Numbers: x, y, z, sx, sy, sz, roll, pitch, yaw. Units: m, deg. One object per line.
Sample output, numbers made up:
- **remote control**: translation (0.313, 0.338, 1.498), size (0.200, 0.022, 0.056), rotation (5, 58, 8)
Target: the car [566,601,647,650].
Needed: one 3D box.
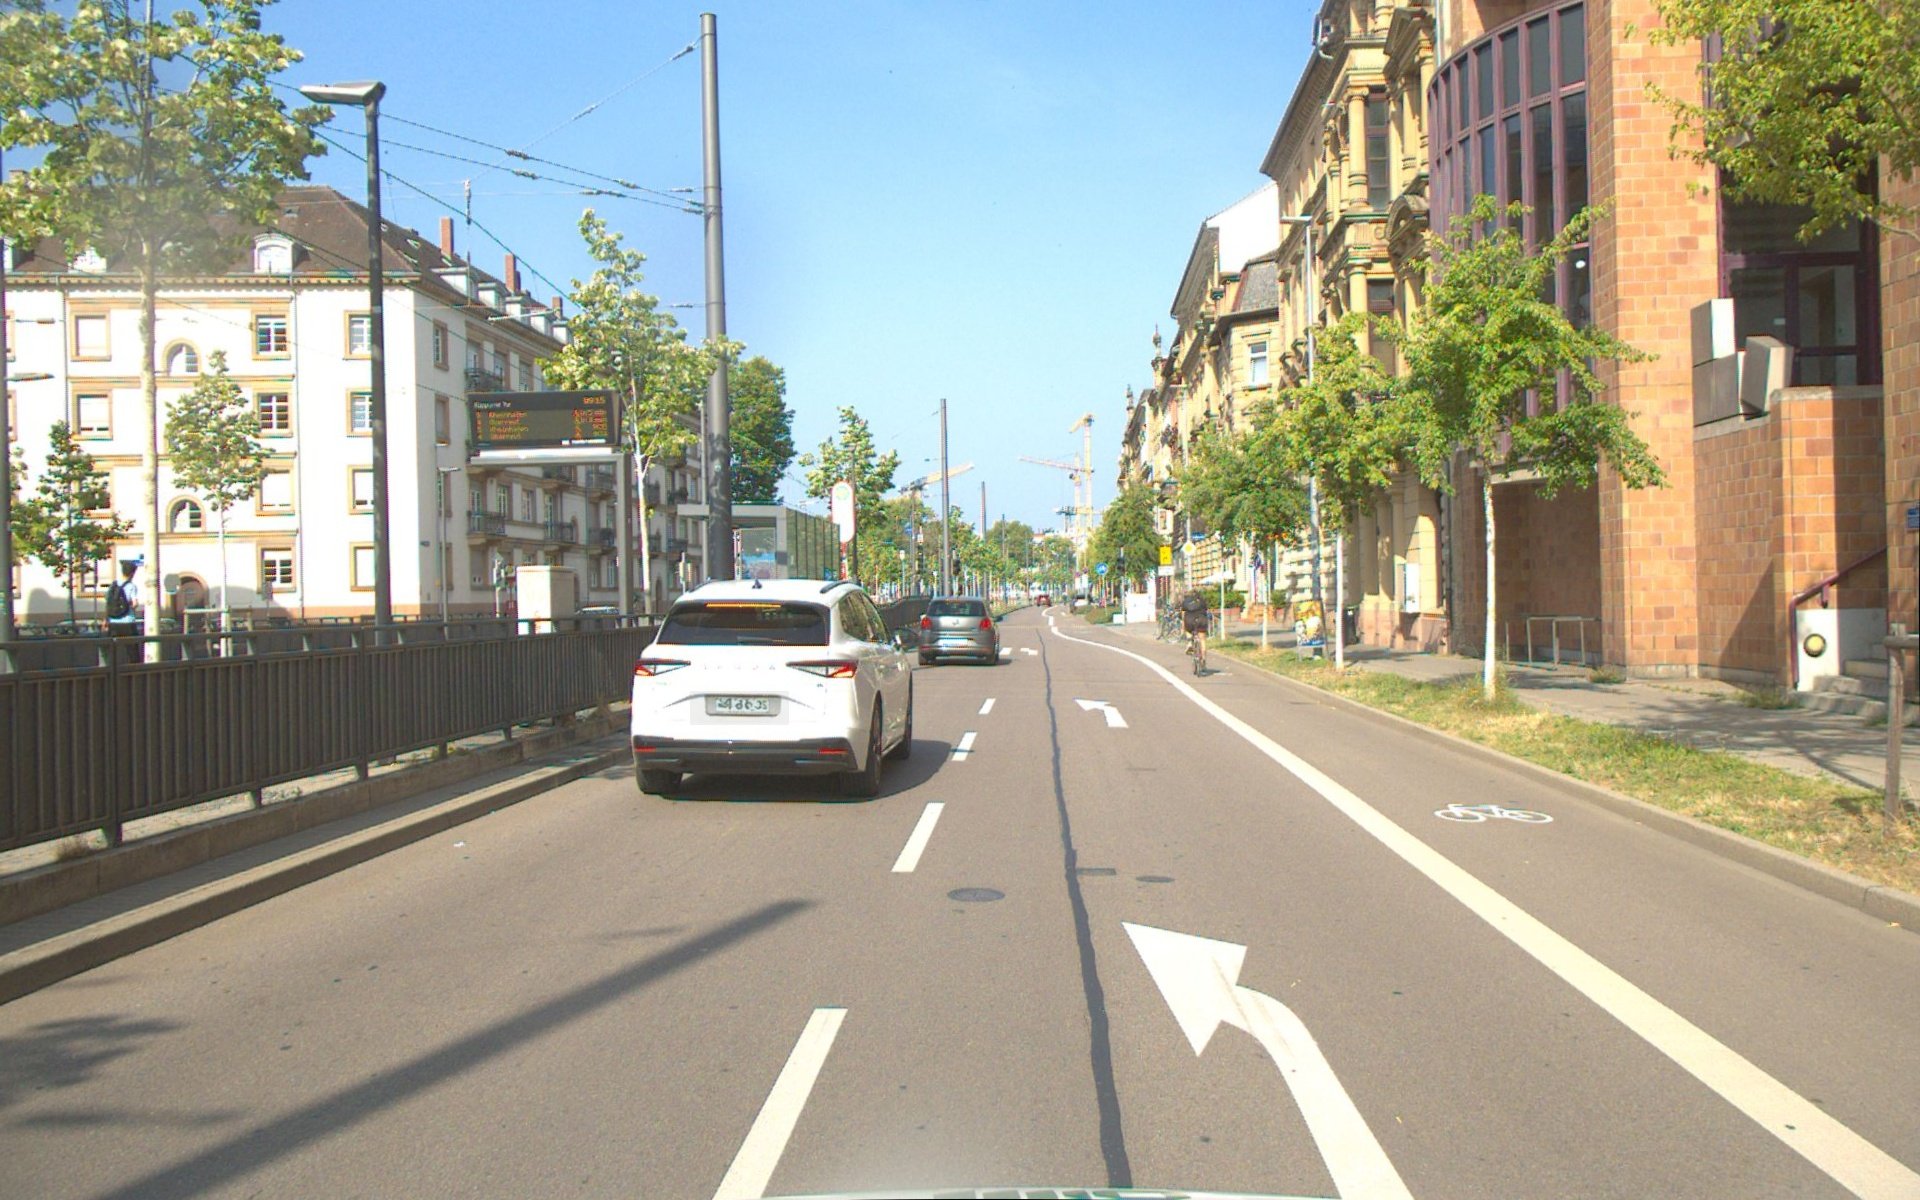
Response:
- **car**: translation (-14.539, 1.006, 68.356), size (1.951, 1.837, 4.635), rotation (-2, 0, 5)

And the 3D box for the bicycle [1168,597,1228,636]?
- **bicycle**: translation (7.650, 0.532, 53.184), size (1.722, 1.106, 0.657), rotation (-5, 0, -6)

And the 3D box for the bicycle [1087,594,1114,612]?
- **bicycle**: translation (9.760, 0.214, 115.190), size (1.770, 1.115, 0.671), rotation (-3, 0, -2)

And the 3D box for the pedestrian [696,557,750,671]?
- **pedestrian**: translation (-4.386, 0.257, 30.616), size (0.816, 2.049, 1.028), rotation (1, 0, 0)

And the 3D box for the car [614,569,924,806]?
- **car**: translation (-1.371, 0.598, 13.588), size (1.779, 1.617, 4.408), rotation (-1, 0, 3)

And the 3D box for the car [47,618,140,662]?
- **car**: translation (-33.910, 1.555, 64.813), size (1.639, 1.559, 3.924), rotation (-2, 0, -2)

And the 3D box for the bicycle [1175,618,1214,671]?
- **bicycle**: translation (4.462, 0.844, 31.555), size (0.495, 0.970, 1.785), rotation (1, -2, 1)

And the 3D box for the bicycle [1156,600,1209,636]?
- **bicycle**: translation (7.525, 0.607, 55.945), size (1.718, 1.106, 0.669), rotation (-4, 0, 8)

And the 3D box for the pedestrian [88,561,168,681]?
- **pedestrian**: translation (-13.513, 0.330, 26.885), size (0.723, 1.905, 0.940), rotation (-2, 0, 6)

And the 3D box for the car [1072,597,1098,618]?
- **car**: translation (10.417, 0.617, 138.116), size (1.733, 1.616, 4.247), rotation (-3, 0, 0)

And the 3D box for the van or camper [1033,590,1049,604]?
- **van or camper**: translation (10.555, -0.398, 214.823), size (1.952, 1.684, 4.001), rotation (-2, 0, 3)

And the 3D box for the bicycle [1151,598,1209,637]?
- **bicycle**: translation (7.248, 0.577, 54.510), size (1.730, 1.106, 0.669), rotation (-5, 0, -20)

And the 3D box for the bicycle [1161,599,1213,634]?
- **bicycle**: translation (7.839, 0.561, 57.186), size (1.715, 1.106, 0.583), rotation (-4, 0, 6)

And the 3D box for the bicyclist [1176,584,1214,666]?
- **bicyclist**: translation (4.462, 0.481, 31.457), size (0.571, 1.508, 0.931), rotation (1, -2, 1)

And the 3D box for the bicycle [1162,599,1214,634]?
- **bicycle**: translation (7.951, 0.565, 57.782), size (1.715, 1.106, 0.583), rotation (-4, 0, 6)

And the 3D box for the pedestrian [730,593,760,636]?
- **pedestrian**: translation (-9.602, 0.648, 73.855), size (1.054, 1.900, 0.857), rotation (-1, 0, -24)

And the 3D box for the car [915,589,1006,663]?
- **car**: translation (0.077, 0.523, 36.214), size (1.717, 1.510, 4.408), rotation (-1, 0, 3)

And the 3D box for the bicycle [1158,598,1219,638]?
- **bicycle**: translation (7.117, 0.561, 51.642), size (1.722, 1.106, 0.610), rotation (-5, 0, -6)
